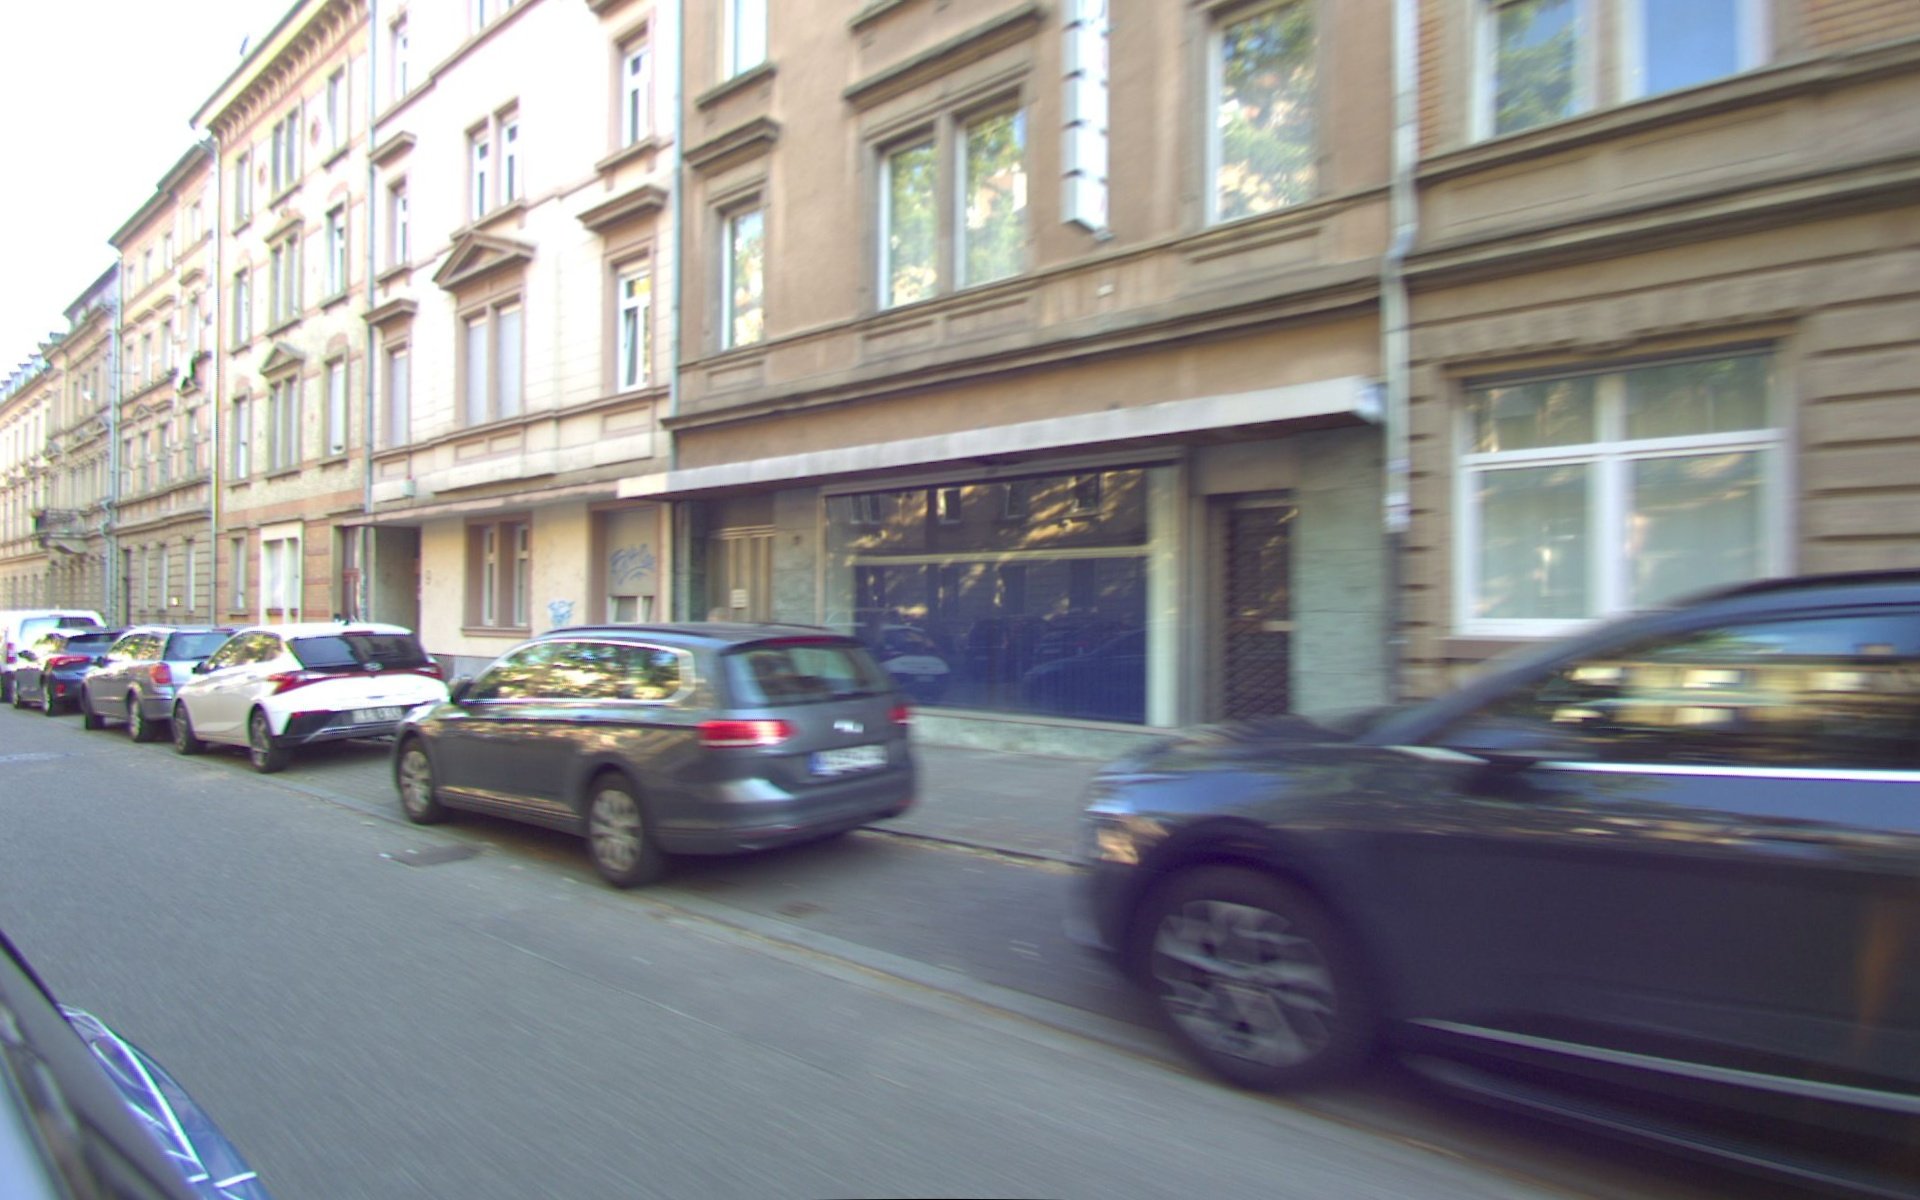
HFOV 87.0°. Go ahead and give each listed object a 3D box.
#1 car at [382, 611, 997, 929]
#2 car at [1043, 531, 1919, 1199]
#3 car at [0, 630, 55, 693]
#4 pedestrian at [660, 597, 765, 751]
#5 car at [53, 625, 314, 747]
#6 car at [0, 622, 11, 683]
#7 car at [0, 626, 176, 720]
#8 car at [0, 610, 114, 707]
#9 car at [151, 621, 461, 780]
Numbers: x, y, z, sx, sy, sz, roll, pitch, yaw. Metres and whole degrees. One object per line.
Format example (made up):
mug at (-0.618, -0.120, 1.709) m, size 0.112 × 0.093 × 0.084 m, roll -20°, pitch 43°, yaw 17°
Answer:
car at (-2.075, 0.851, 6.910) m, size 4.485 × 1.484 × 1.843 m, roll -2°, pitch -2°, yaw 40°
car at (2.534, 0.650, 2.902) m, size 4.309 × 1.612 × 1.803 m, roll -1°, pitch 0°, yaw 39°
car at (-23.416, 1.459, 24.485) m, size 3.820 × 1.432 × 1.621 m, roll -1°, pitch -1°, yaw 38°
pedestrian at (-2.801, 0.808, 11.439) m, size 1.017 × 1.643 × 0.689 m, roll -1°, pitch -2°, yaw 38°
car at (-11.081, 1.100, 14.339) m, size 4.536 × 1.455 × 1.868 m, roll -1°, pitch -1°, yaw 38°
car at (-28.342, 1.497, 28.587) m, size 4.154 × 1.670 × 1.749 m, roll -2°, pitch -1°, yaw 40°
car at (-15.743, 1.229, 18.141) m, size 4.239 × 1.484 × 1.730 m, roll -1°, pitch -2°, yaw 39°
car at (-19.764, 1.173, 21.529) m, size 4.601 × 1.847 × 1.824 m, roll -1°, pitch -1°, yaw 38°
car at (-7.490, 0.995, 11.459) m, size 4.083 × 1.484 × 1.740 m, roll -2°, pitch -2°, yaw 39°
